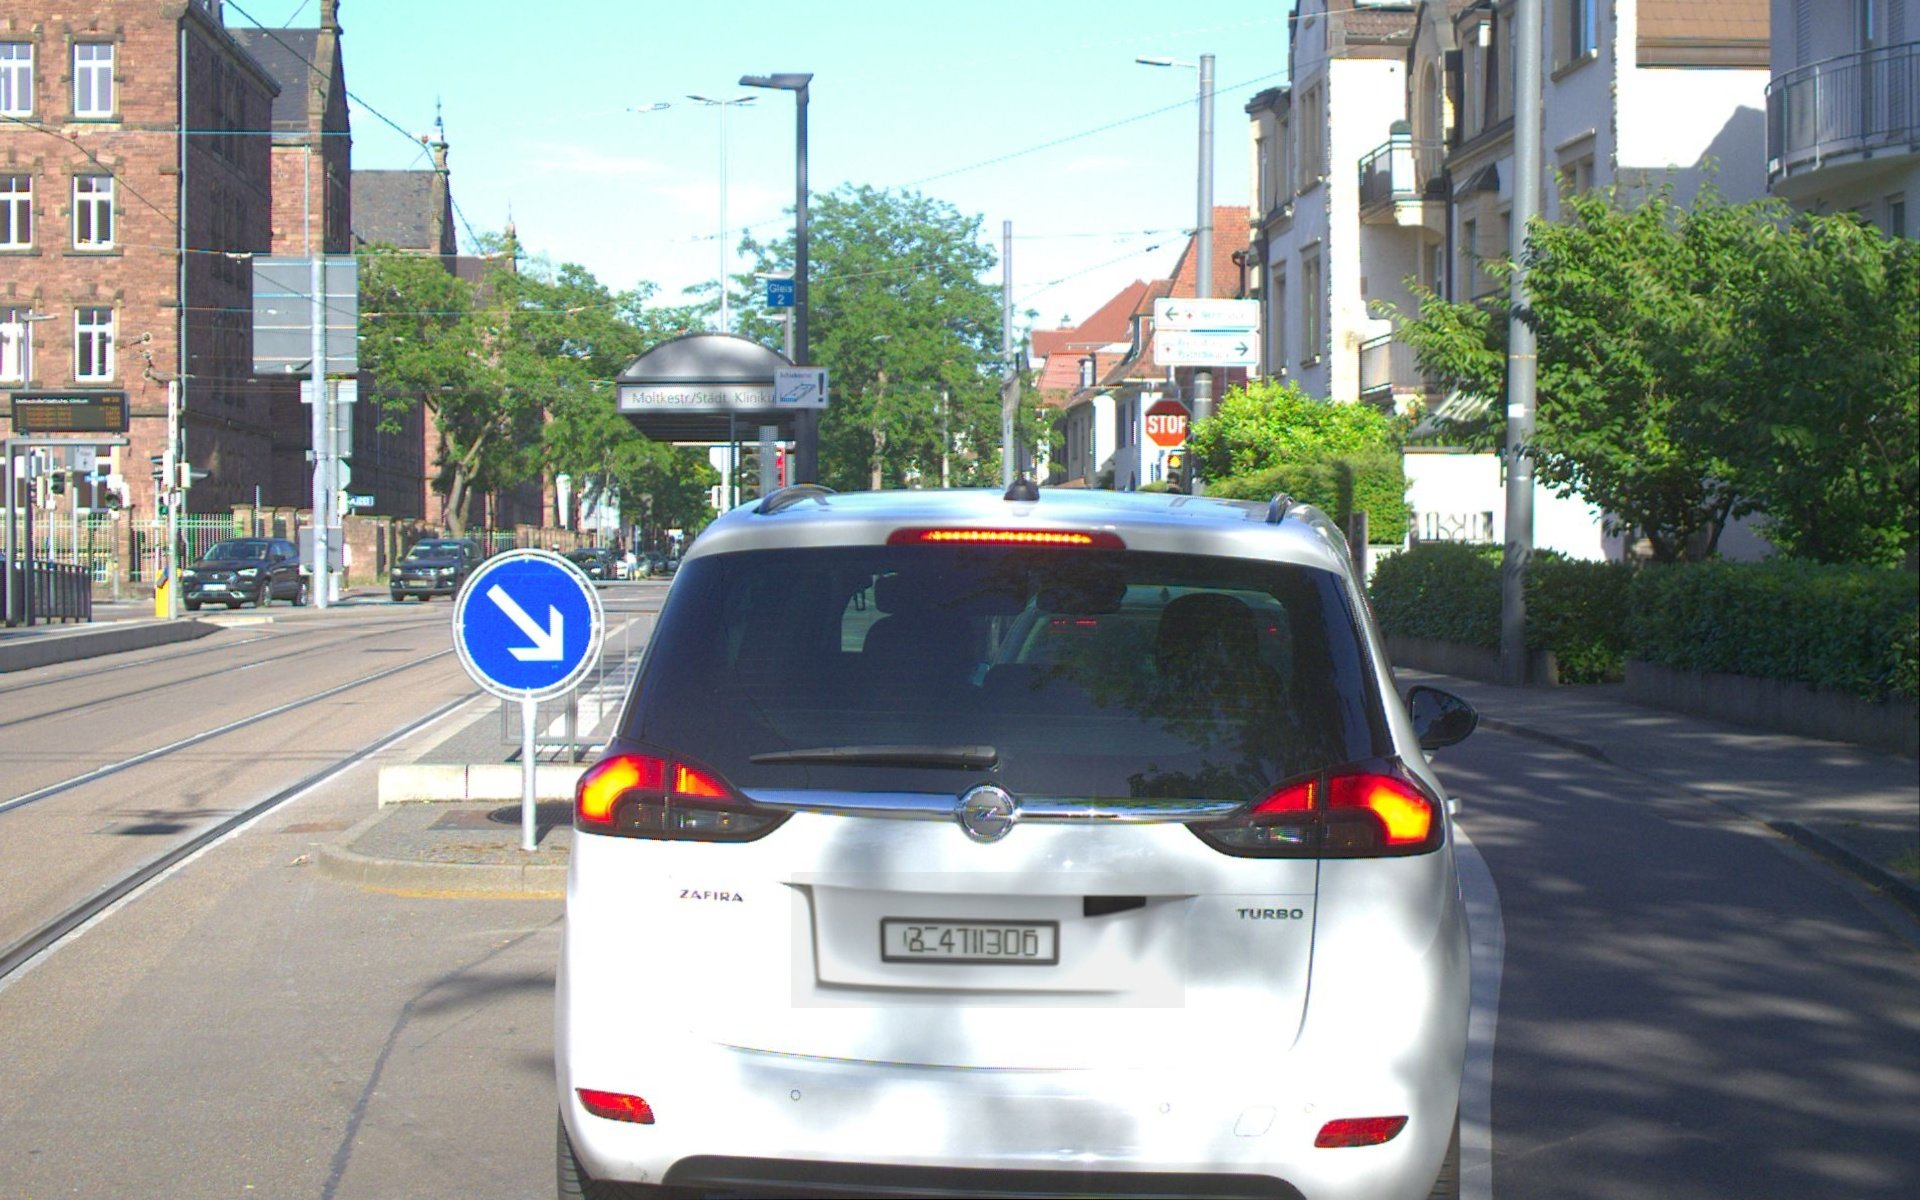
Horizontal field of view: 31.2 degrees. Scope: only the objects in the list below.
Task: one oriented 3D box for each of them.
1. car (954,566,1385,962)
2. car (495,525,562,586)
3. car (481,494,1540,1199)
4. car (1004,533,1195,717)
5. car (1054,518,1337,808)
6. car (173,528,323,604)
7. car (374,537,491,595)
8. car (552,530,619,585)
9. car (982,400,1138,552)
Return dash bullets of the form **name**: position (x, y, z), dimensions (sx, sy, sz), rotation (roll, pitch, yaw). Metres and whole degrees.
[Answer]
- **car**: position (0.945, 0.594, 14.786), dimensions (1.569, 1.396, 3.783), rotation (2, 1, 5)
- **car**: position (-12.979, -1.323, 103.641), dimensions (1.826, 1.782, 4.328), rotation (1, 0, -5)
- **car**: position (0.249, 0.565, 8.088), dimensions (1.878, 1.579, 3.999), rotation (0, 1, 5)
- **car**: position (1.302, 0.195, 33.482), dimensions (1.596, 1.629, 3.901), rotation (2, 1, -1)
- **car**: position (1.407, 0.321, 21.596), dimensions (1.569, 1.609, 3.784), rotation (2, 1, 2)
- **car**: position (-15.674, -0.738, 75.898), dimensions (1.827, 1.611, 4.326), rotation (1, 0, 9)
- **car**: position (-13.663, -0.863, 89.231), dimensions (1.827, 1.441, 4.326), rotation (1, 0, 8)
- **car**: position (-14.052, -1.597, 129.040), dimensions (1.993, 2.007, 4.000), rotation (1, 1, 1)
- **car**: position (1.115, -1.443, 40.019), dimensions (1.596, 1.629, 3.902), rotation (2, 2, -1)
